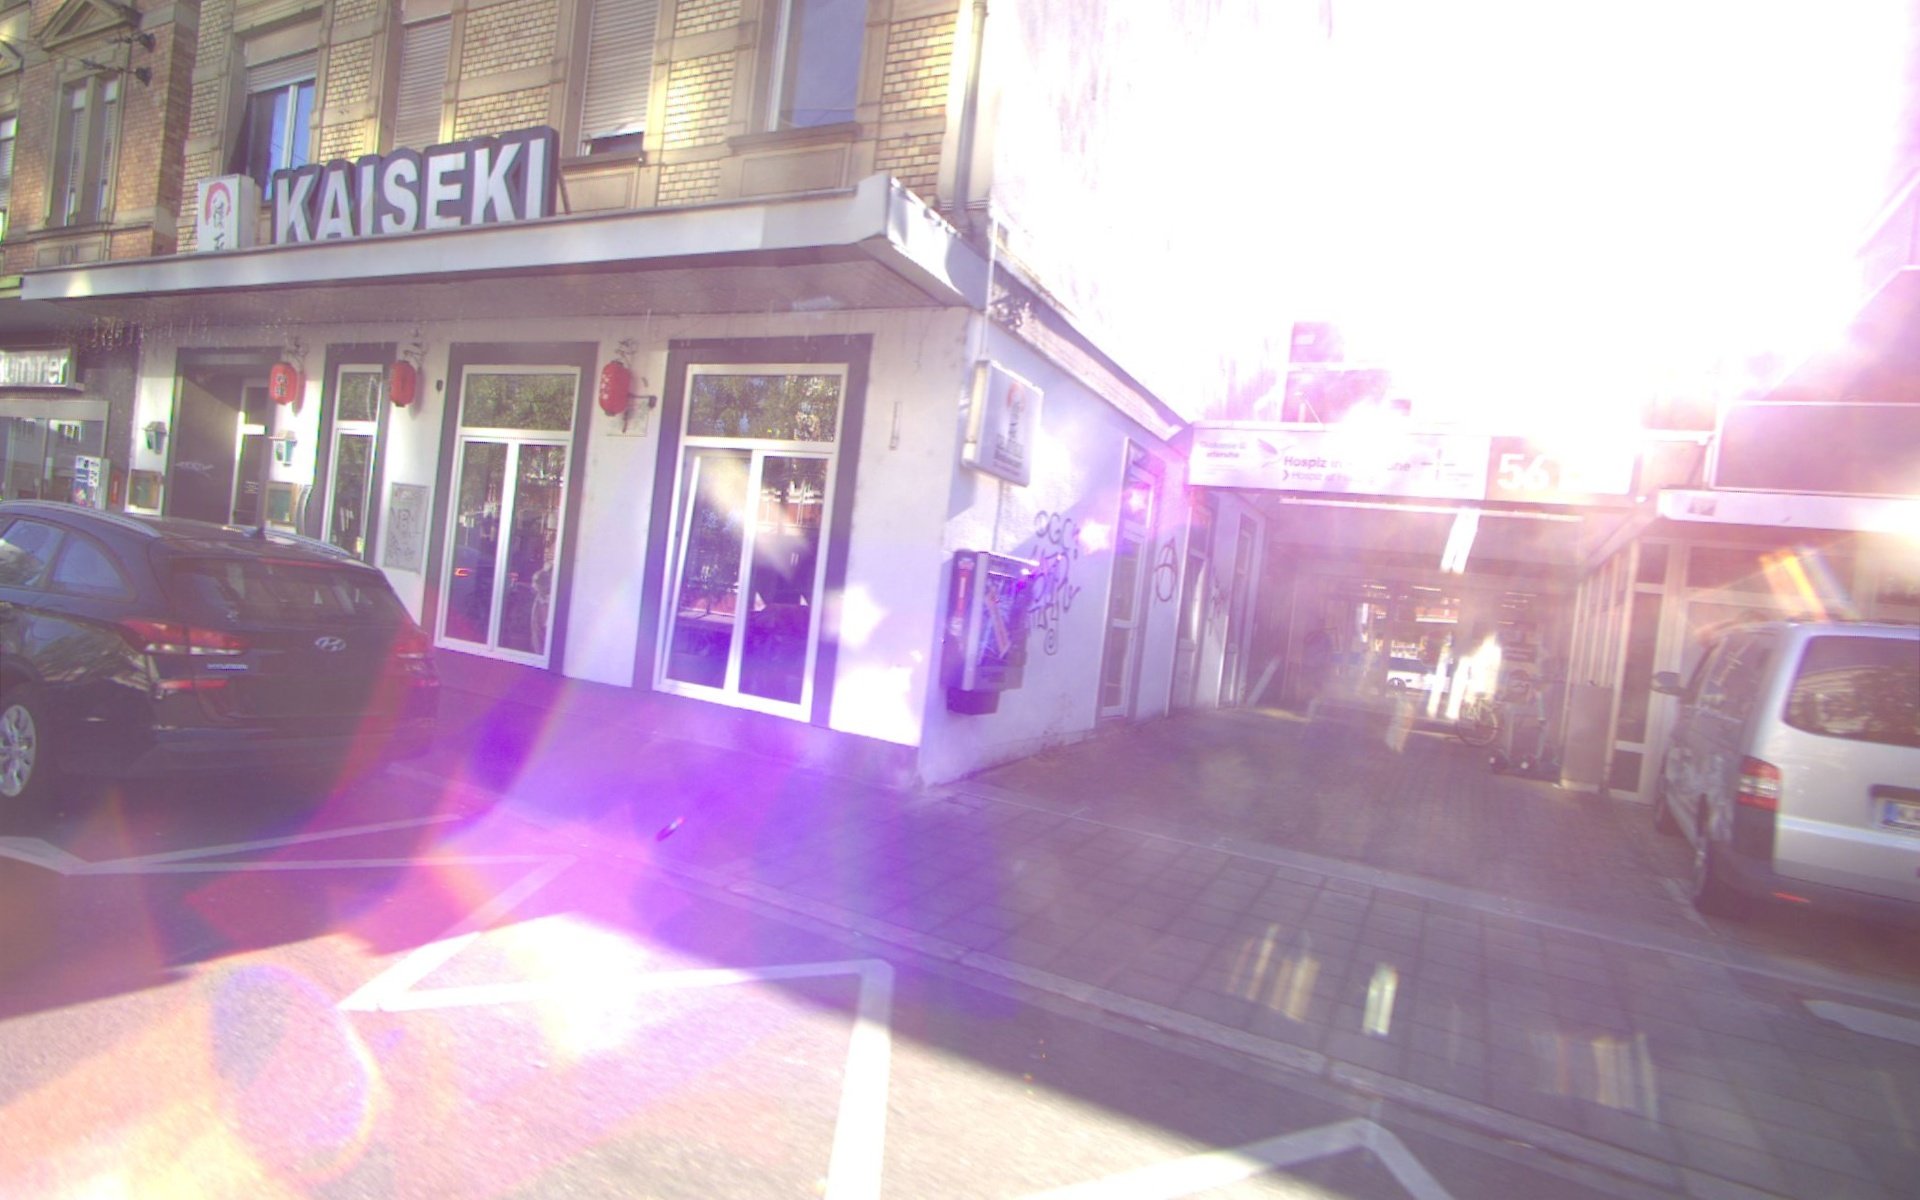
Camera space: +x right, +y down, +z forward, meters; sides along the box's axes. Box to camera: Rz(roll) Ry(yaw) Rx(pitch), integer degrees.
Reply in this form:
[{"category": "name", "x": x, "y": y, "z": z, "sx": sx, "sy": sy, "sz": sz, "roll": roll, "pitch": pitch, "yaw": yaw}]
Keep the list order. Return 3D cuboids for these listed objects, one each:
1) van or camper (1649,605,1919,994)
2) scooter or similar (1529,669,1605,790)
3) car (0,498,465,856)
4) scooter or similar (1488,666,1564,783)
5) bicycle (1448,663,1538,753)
[{"category": "van or camper", "x": 6.395, "y": 1.145, "z": 7.199, "sx": 1.967, "sy": 1.959, "sz": 4.692, "roll": 7, "pitch": 3, "yaw": 31}, {"category": "scooter or similar", "x": 6.916, "y": 1.479, "z": 11.436, "sx": 1.199, "sy": 1.281, "sz": 0.354, "roll": 8, "pitch": -2, "yaw": -45}, {"category": "car", "x": -5.196, "y": 0.209, "z": 6.019, "sx": 4.284, "sy": 1.468, "sz": 1.695, "roll": 7, "pitch": -1, "yaw": 28}, {"category": "scooter or similar", "x": 6.646, "y": 1.462, "z": 11.798, "sx": 1.199, "sy": 1.281, "sz": 0.354, "roll": 8, "pitch": -2, "yaw": -45}, {"category": "bicycle", "x": 8.253, "y": 1.672, "z": 15.579, "sx": 1.187, "sy": 1.261, "sz": 0.357, "roll": 7, "pitch": -1, "yaw": -14}]
